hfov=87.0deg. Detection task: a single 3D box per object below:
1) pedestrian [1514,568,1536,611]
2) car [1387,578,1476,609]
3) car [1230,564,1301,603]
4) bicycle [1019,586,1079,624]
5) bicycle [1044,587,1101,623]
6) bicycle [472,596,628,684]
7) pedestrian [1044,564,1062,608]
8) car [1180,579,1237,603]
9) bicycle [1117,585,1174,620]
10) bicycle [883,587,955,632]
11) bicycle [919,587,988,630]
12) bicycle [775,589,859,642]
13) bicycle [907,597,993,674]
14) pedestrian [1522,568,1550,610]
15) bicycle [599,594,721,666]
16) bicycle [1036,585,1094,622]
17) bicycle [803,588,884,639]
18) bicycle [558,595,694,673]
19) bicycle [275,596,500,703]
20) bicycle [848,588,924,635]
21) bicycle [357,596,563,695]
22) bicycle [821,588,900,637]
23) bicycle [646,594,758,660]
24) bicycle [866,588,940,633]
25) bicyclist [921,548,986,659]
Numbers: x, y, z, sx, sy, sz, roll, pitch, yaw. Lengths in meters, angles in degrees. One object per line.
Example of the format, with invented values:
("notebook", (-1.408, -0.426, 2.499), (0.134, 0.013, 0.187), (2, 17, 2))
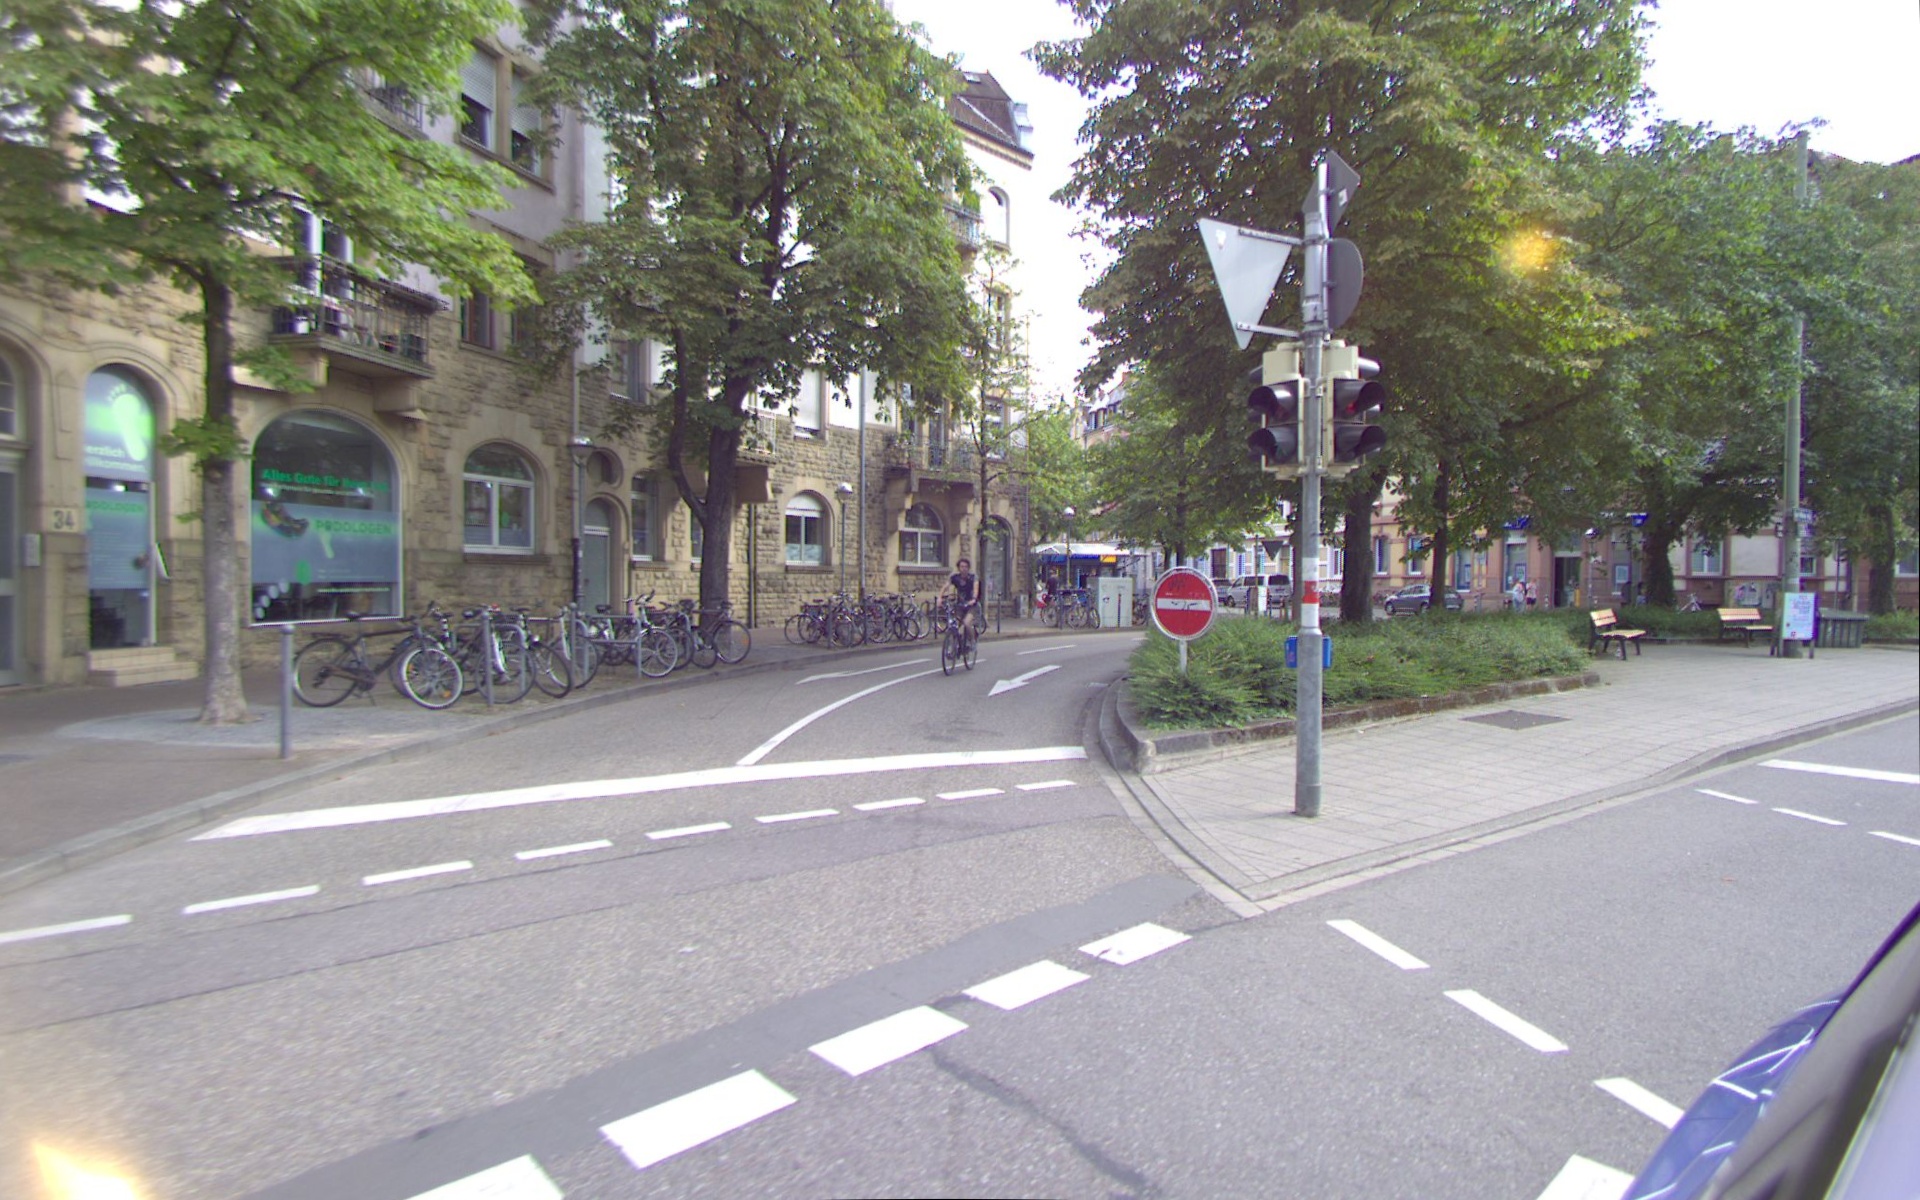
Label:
("pedestrian", (22.944, -0.447, 41.101), (0.630, 1.715, 0.612), (0, 1, -41))
("car", (20.887, -0.297, 44.971), (1.703, 1.282, 3.597), (0, 0, -13))
("car", (17.765, -0.944, 59.052), (1.702, 2.143, 4.555), (0, 0, -17))
("bicycle", (2.577, 0.125, 29.423), (1.786, 1.051, 0.475), (1, 0, 42))
("bicycle", (3.405, 0.143, 30.736), (1.786, 1.051, 0.475), (1, 0, 42))
("bicycle", (-5.149, 0.489, 12.738), (1.760, 1.051, 0.482), (1, 0, 1))
("pedestrian", (3.710, -0.562, 40.386), (0.660, 1.723, 0.638), (0, 1, 0))
("car", (15.860, -0.564, 64.750), (1.702, 1.491, 3.967), (0, 0, -17))
("bicycle", (5.921, 0.067, 32.348), (1.786, 1.051, 0.475), (1, 0, 42))
("bicycle", (-1.033, 0.230, 25.225), (1.775, 1.051, 0.478), (1, 0, 26))
("bicycle", (-0.174, 0.214, 26.392), (1.775, 1.051, 0.478), (1, 0, 26))
("bicycle", (-3.040, 0.312, 21.434), (1.775, 1.051, 0.478), (1, 0, 26))
("bicycle", (-0.102, 0.510, 16.328), (0.872, 1.058, 3.089), (1, 1, 9))
("pedestrian", (23.715, -0.456, 41.663), (0.765, 1.715, 0.789), (0, 1, -39))
("bicycle", (-4.648, 0.459, 15.690), (1.763, 1.051, 0.482), (1, 0, 7))
("bicycle", (3.102, 0.105, 29.996), (1.786, 1.051, 0.475), (1, 0, 42))
("bicycle", (-2.571, 0.289, 22.306), (1.775, 1.051, 0.478), (1, 0, 26))
("bicycle", (-4.722, 0.471, 14.360), (1.760, 1.051, 0.482), (1, 0, 1))
("bicycle", (-5.931, 0.505, 10.553), (2.007, 1.051, 0.483), (1, 0, -6))
("bicycle", (-1.755, 0.259, 23.884), (1.775, 1.051, 0.478), (1, 0, 26))
("bicycle", (-5.580, 0.501, 11.363), (2.007, 1.051, 0.483), (1, 0, -6))
("bicycle", (-2.263, 0.273, 22.976), (1.775, 1.051, 0.478), (1, 0, 26))
("bicycle", (-4.346, 0.439, 17.059), (1.763, 1.051, 0.482), (1, 0, 7))
("bicycle", (-1.383, 0.245, 24.577), (1.775, 1.051, 0.478), (1, 0, 26))
("bicyclist", (-0.090, 0.041, 16.348), (0.825, 1.711, 1.243), (1, 0, 10))
